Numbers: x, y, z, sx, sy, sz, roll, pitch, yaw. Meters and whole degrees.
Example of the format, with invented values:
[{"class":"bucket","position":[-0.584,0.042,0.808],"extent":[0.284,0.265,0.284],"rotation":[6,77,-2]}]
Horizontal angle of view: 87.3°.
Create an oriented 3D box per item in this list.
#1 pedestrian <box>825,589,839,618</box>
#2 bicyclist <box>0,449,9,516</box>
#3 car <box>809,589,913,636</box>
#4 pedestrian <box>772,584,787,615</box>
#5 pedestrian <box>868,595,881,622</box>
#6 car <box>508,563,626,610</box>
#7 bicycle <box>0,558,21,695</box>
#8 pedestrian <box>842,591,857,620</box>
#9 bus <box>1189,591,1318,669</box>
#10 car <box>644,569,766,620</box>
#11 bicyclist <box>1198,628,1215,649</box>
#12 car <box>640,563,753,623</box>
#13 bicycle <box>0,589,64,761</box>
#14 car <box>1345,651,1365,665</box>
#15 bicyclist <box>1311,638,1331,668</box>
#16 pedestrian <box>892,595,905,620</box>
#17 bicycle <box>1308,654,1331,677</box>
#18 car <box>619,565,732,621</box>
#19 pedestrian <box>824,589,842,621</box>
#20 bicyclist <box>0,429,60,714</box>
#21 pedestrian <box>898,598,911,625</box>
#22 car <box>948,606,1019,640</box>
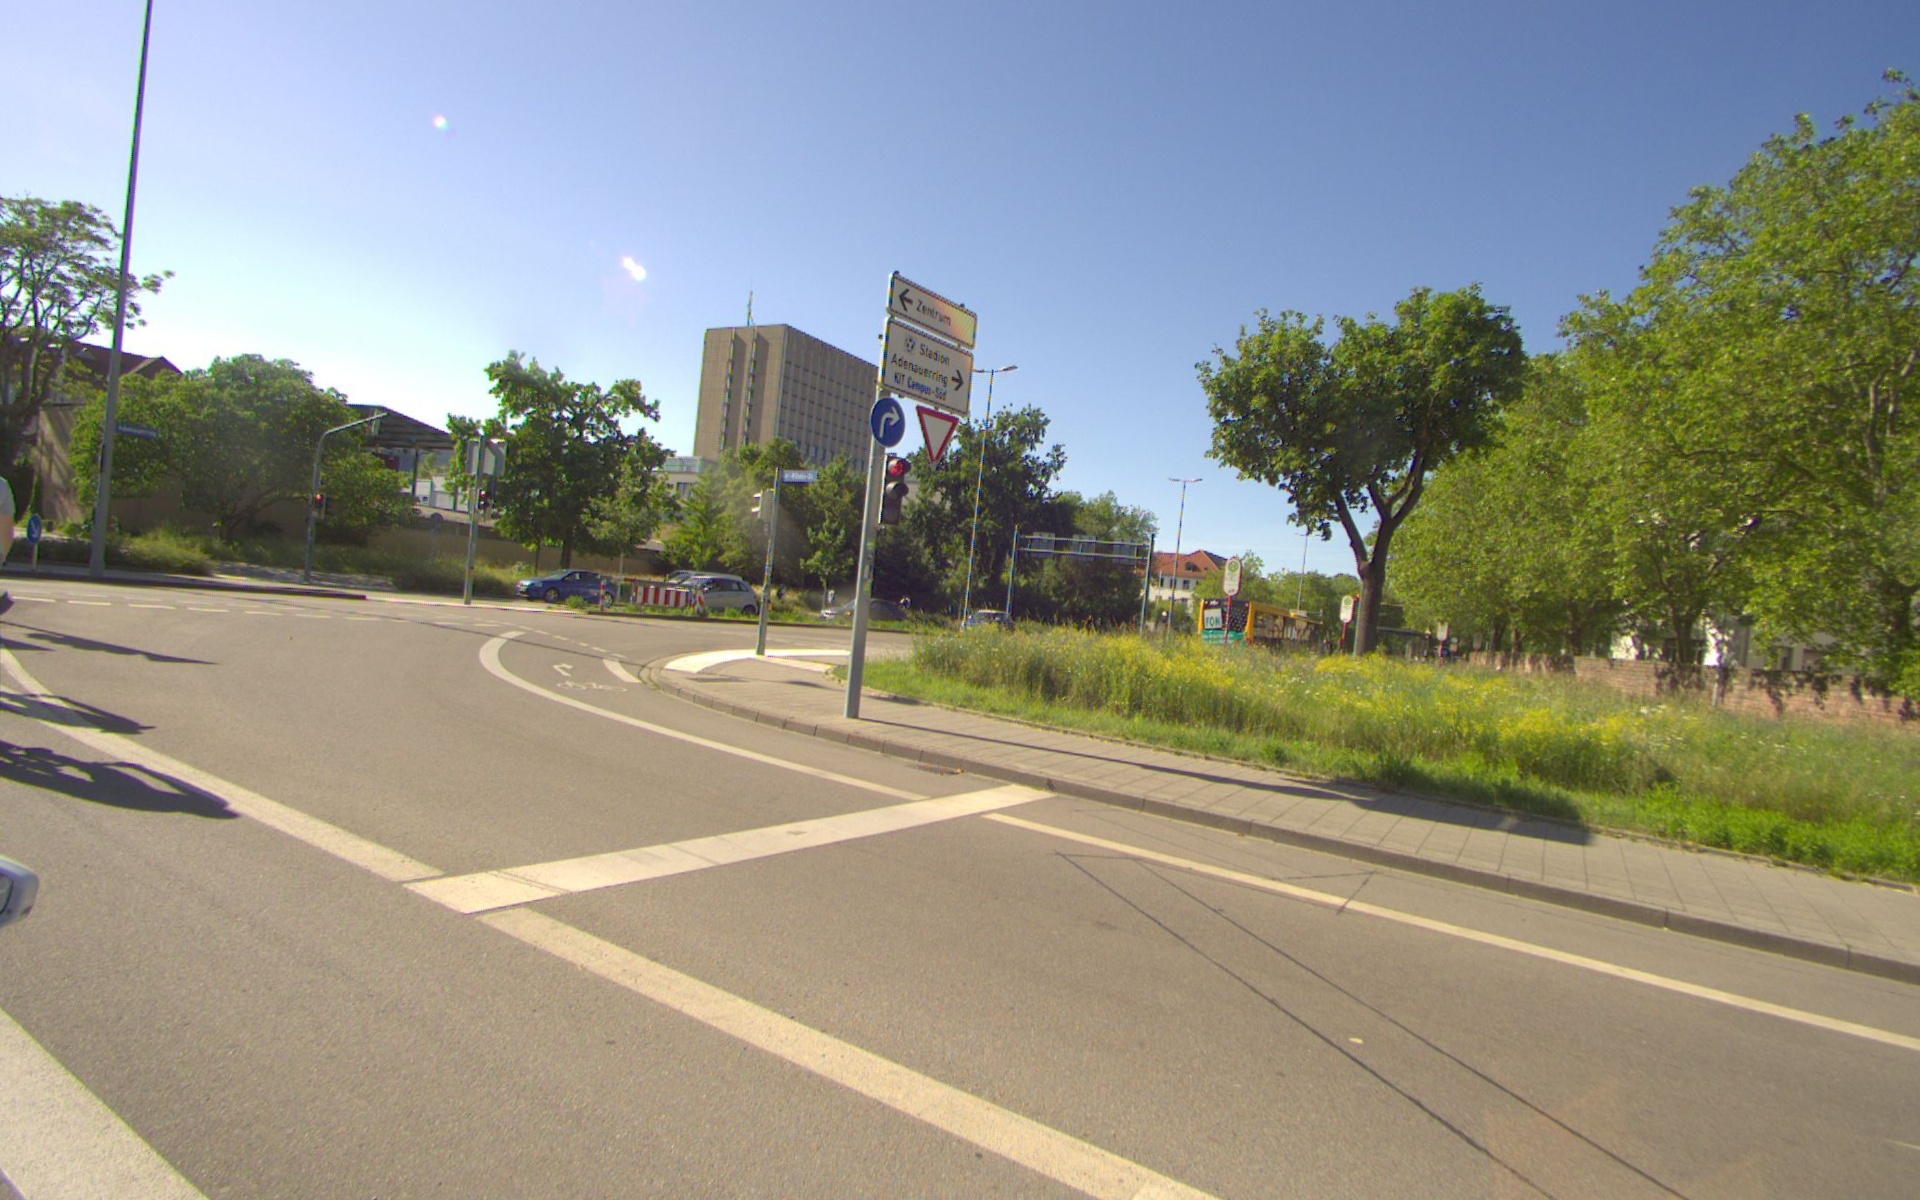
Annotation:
[{"class":"pedestrian","position":[-8.383,0.221,65.881],"extent":[0.519,1.801,0.561],"rotation":[7,1,36]},{"class":"bicyclist","position":[-8.135,-0.373,7.782],"extent":[1.048,1.759,0.647],"rotation":[7,-1,26]},{"class":"car","position":[-4.305,0.579,44.711],"extent":[1.968,1.604,4.736],"rotation":[6,0,33]},{"class":"pedestrian","position":[-11.002,-0.042,61.369],"extent":[0.519,1.801,0.561],"rotation":[7,1,35]},{"class":"pedestrian","position":[-5.905,0.561,69.452],"extent":[0.519,1.801,0.561],"rotation":[7,1,35]},{"class":"car","position":[-16.088,-0.515,41.342],"extent":[1.717,1.453,4.162],"rotation":[7,0,38]},{"class":"bicycle","position":[-8.201,0.089,7.777],"extent":[1.935,1.014,0.661],"rotation":[6,-1,26]},{"class":"pedestrian","position":[-7.260,0.369,66.184],"extent":[0.519,1.801,0.561],"rotation":[7,1,35]},{"class":"bus","position":[14.370,1.592,48.501],"extent":[2.753,2.662,10.092],"rotation":[6,-2,35]},{"class":"car","position":[-9.430,-0.192,37.432],"extent":[1.840,1.426,4.046],"rotation":[6,0,38]},{"class":"bicyclist","position":[21.443,3.337,87.438],"extent":[0.778,1.649,1.315],"rotation":[7,1,37]},{"class":"car","position":[-12.308,-0.275,47.333],"extent":[1.968,2.131,4.885],"rotation":[6,-2,34]},{"class":"bicycle","position":[-6.293,0.360,6.093],"extent":[1.946,0.906,0.741],"rotation":[6,-2,33]},{"class":"car","position":[48.540,7.145,123.580],"extent":[1.812,1.405,4.066],"rotation":[4,-2,27]},{"class":"bicyclist","position":[16.921,2.486,47.161],"extent":[0.509,1.368,1.002],"rotation":[7,1,32]},{"class":"pedestrian","position":[-4.371,0.520,71.468],"extent":[0.519,1.716,0.561],"rotation":[7,1,35]},{"class":"bicycle","position":[16.852,3.072,47.157],"extent":[0.509,1.007,2.056],"rotation":[7,0,32]},{"class":"car","position":[-11.802,-0.276,41.903],"extent":[1.972,1.837,3.982],"rotation":[7,0,40]},{"class":"pedestrian","position":[-8.000,0.312,63.382],"extent":[0.702,1.872,0.561],"rotation":[7,1,35]},{"class":"bicyclist","position":[-6.217,-0.224,6.093],"extent":[1.000,1.688,0.752],"rotation":[6,-1,33]},{"class":"pedestrian","position":[-3.933,0.821,70.943],"extent":[0.519,1.801,0.561],"rotation":[7,1,35]},{"class":"car","position":[1.273,1.242,53.017],"extent":[1.757,1.448,3.989],"rotation":[6,0,33]}]
